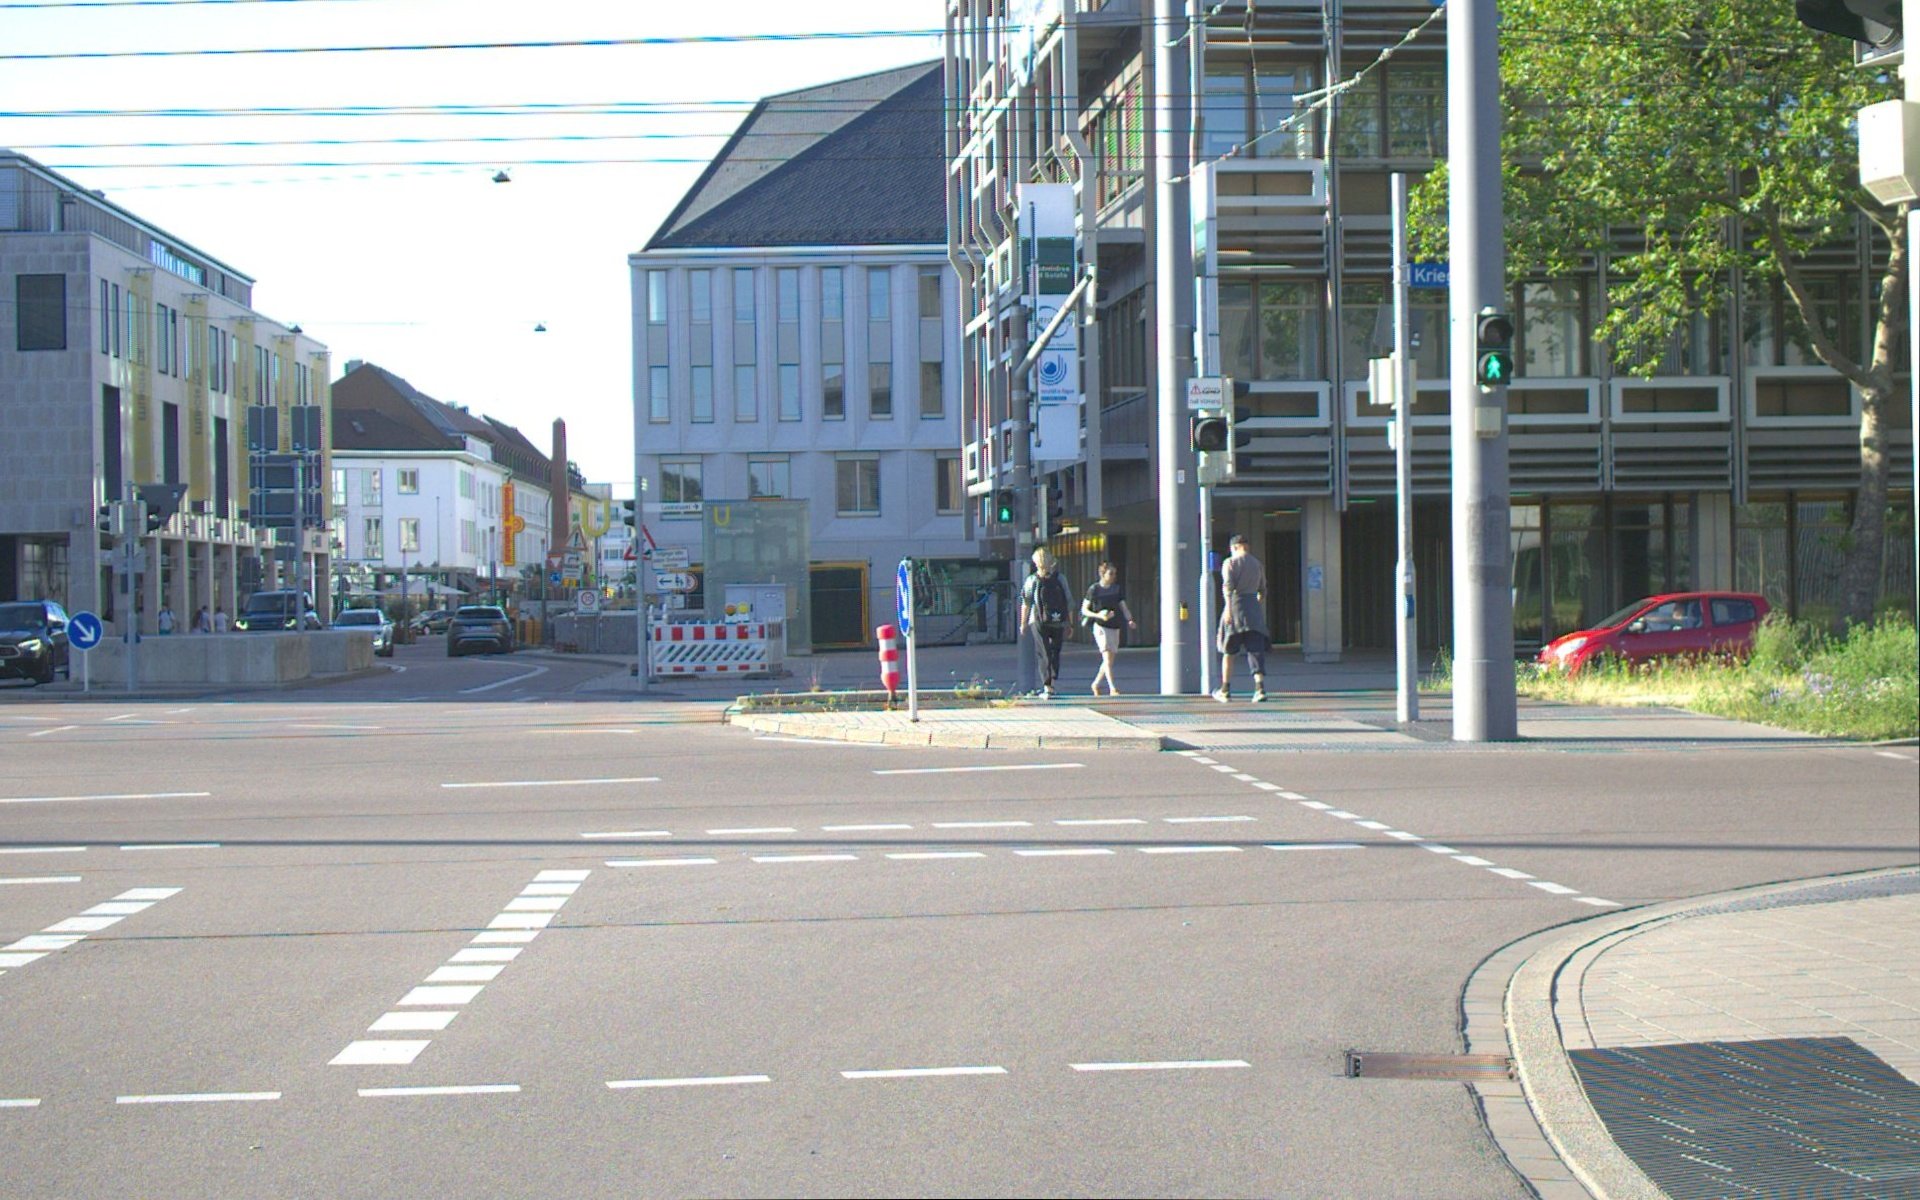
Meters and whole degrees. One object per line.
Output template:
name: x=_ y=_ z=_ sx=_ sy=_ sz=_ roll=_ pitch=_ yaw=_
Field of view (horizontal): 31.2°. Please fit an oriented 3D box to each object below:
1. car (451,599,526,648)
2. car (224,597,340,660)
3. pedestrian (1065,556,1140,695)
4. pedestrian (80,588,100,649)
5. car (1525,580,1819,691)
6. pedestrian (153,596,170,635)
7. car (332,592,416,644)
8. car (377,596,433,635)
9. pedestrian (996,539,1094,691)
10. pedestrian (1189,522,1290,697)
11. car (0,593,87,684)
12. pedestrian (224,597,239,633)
car: x=-14.411 y=0.715 z=105.330 sx=1.936 sy=1.445 sz=4.262 roll=-1 pitch=0 yaw=-3
car: x=-18.857 y=0.804 z=95.871 sx=2.174 sy=1.686 sz=5.486 roll=-1 pitch=0 yaw=0
pedestrian: x=1.991 y=0.349 z=48.157 sx=1.012 sy=1.904 sz=1.051 roll=-1 pitch=0 yaw=1
pedestrian: x=-28.757 y=0.608 z=113.611 sx=0.616 sy=2.007 sz=0.478 roll=1 pitch=0 yaw=-14
car: x=10.445 y=0.539 z=50.605 sx=3.867 sy=1.481 sz=1.846 roll=-1 pitch=-3 yaw=-2
pedestrian: x=-27.610 y=0.546 z=118.932 sx=0.488 sy=1.352 sz=0.564 roll=1 pitch=0 yaw=-6
car: x=-19.590 y=0.617 z=115.150 sx=2.174 sy=1.686 sz=5.616 roll=-1 pitch=0 yaw=-3
car: x=-27.199 y=0.750 z=168.578 sx=2.174 sy=1.866 sz=5.616 roll=-1 pitch=0 yaw=-4
pedestrian: x=0.886 y=0.149 z=35.900 sx=0.895 sy=1.544 sz=0.924 roll=-1 pitch=2 yaw=-6
pedestrian: x=2.813 y=0.088 z=34.686 sx=0.855 sy=1.738 sz=0.739 roll=-1 pitch=1 yaw=-8
car: x=-18.044 y=0.724 z=65.625 sx=1.937 sy=1.672 sz=4.295 roll=-1 pitch=0 yaw=-4
pedestrian: x=-27.409 y=0.552 z=129.352 sx=0.488 sy=1.352 sz=0.564 roll=1 pitch=0 yaw=-6
